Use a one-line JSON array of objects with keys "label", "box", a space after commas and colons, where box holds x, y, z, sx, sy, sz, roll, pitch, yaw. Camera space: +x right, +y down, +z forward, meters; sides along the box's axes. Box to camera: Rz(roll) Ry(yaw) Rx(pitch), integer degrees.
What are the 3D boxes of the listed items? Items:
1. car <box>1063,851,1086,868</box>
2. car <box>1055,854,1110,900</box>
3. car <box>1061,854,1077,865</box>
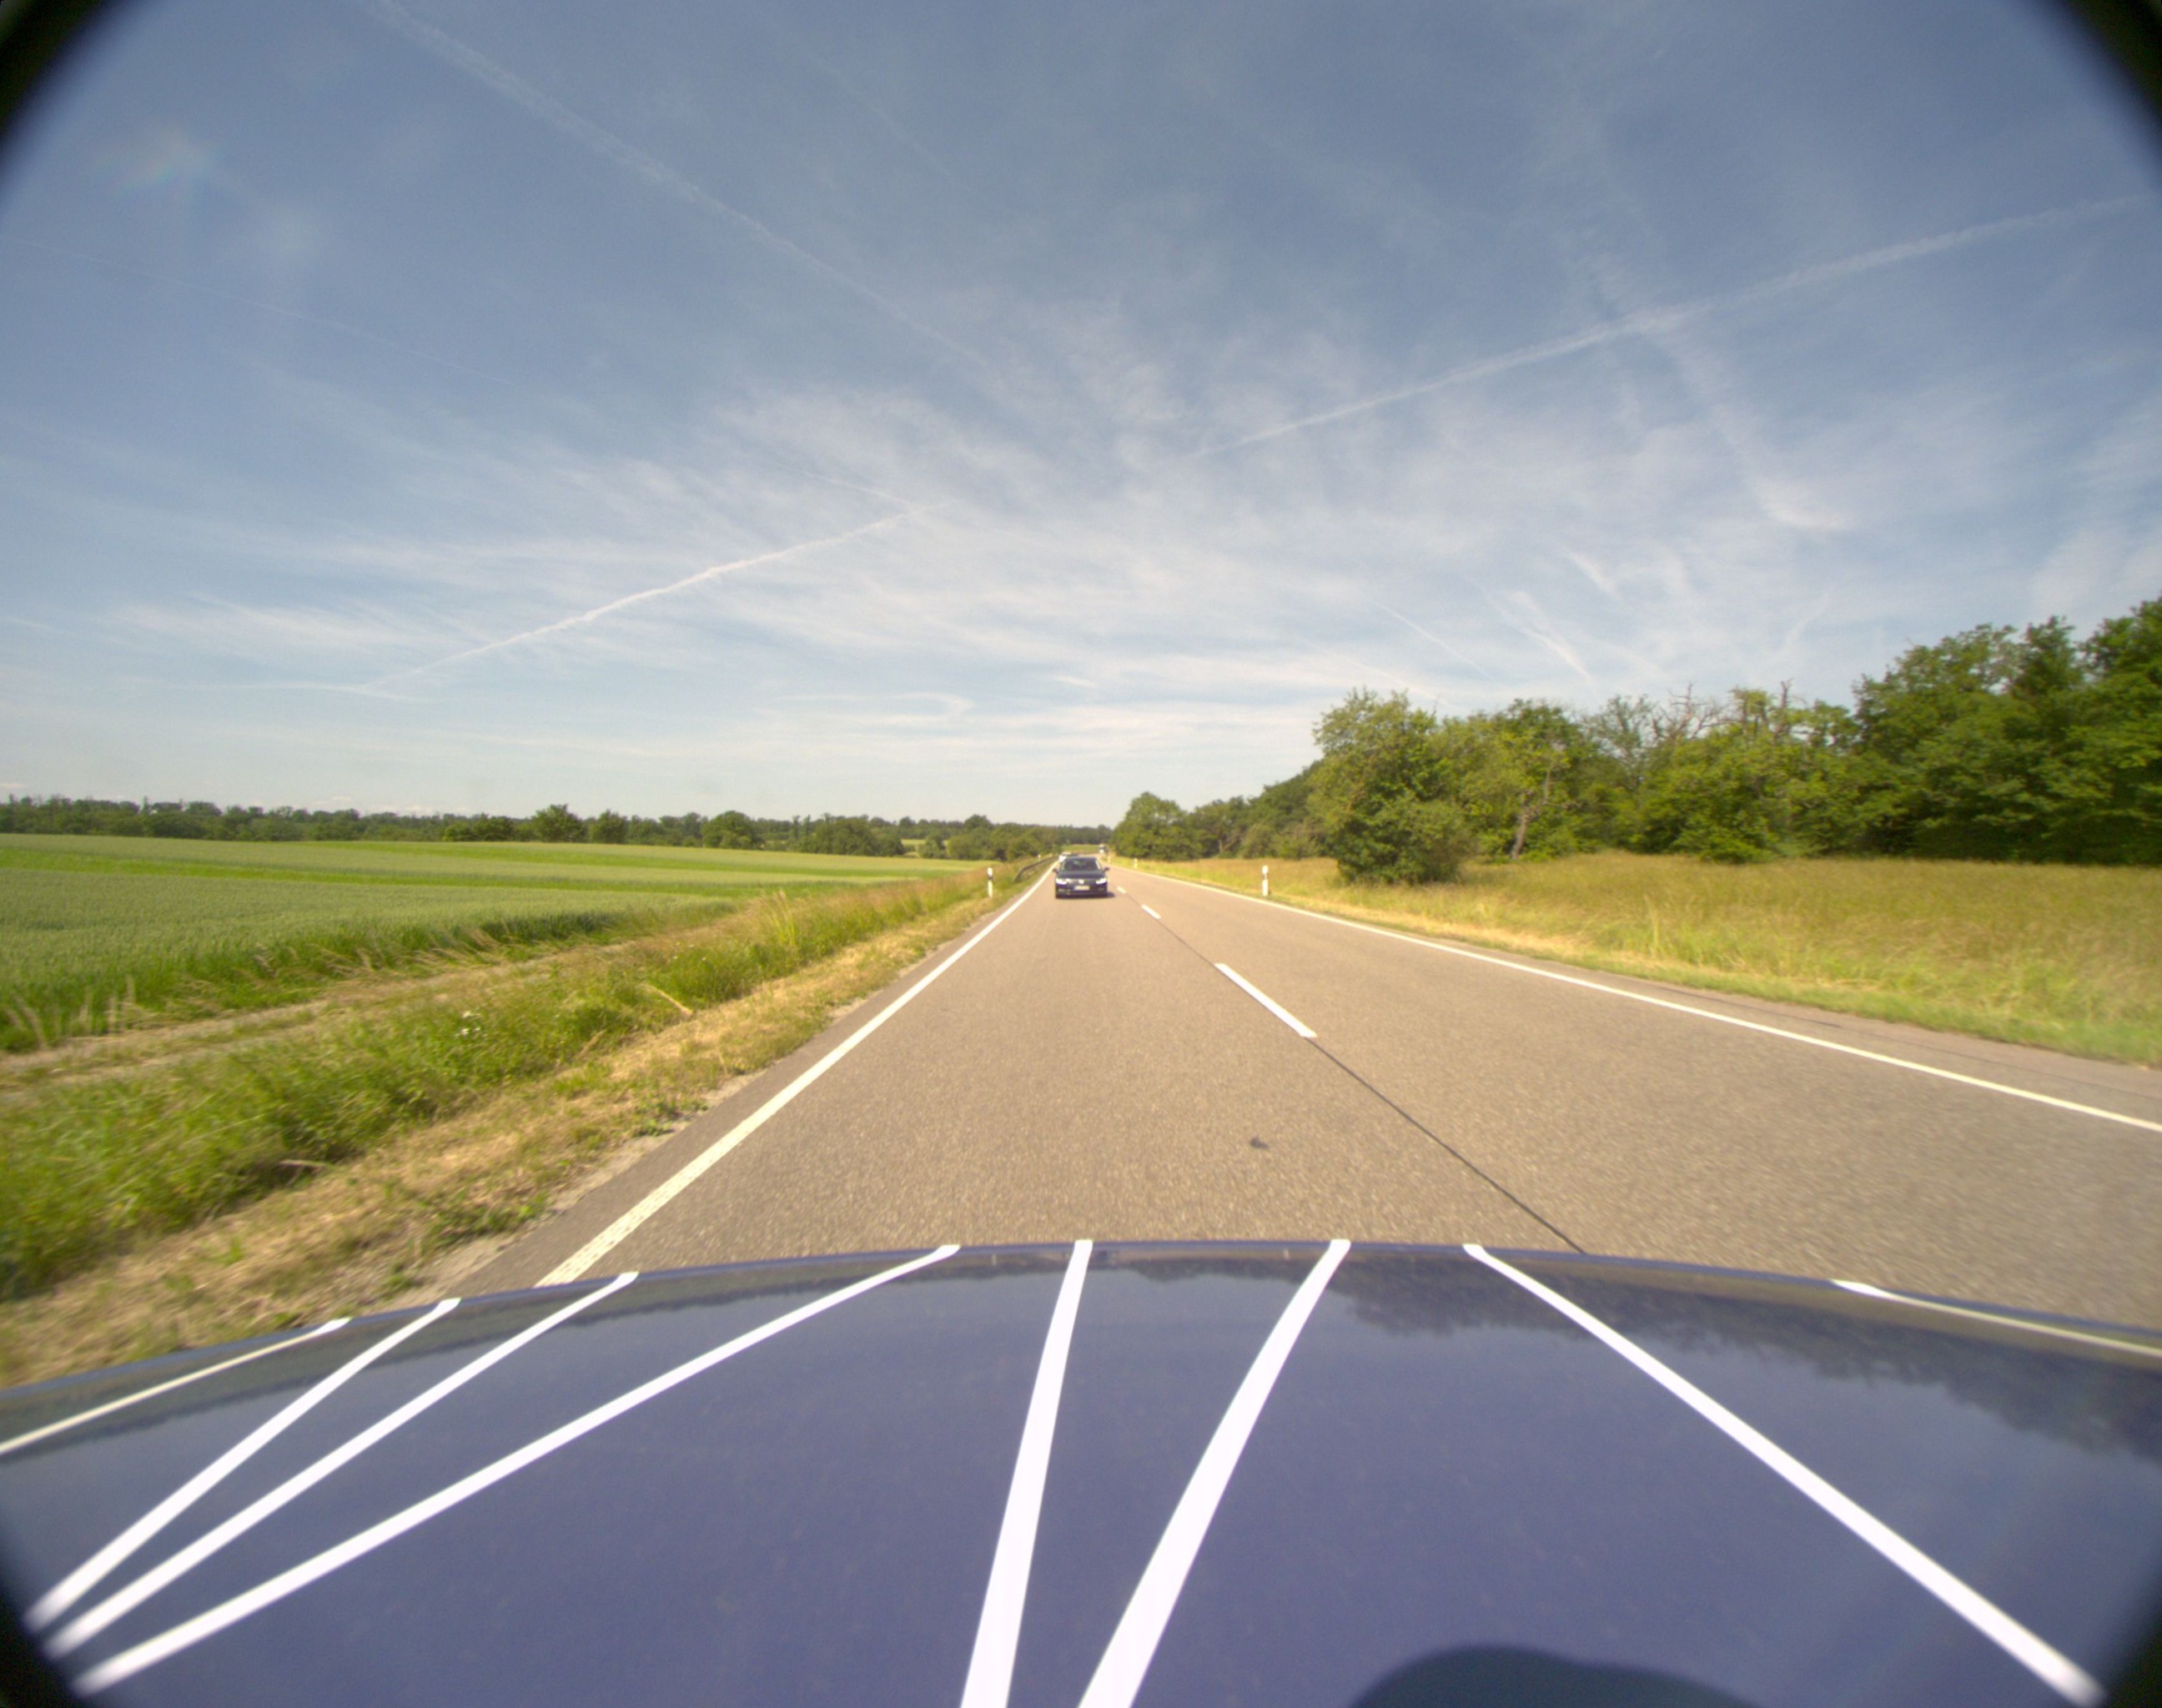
[{"label": "car", "box": [-0.658, 0.518, 71.756, 1.928, 1.501, 4.290, 0, 0, -3]}, {"label": "car", "box": [-0.034, 0.778, 27.965, 1.822, 1.501, 4.499, -1, 0, -2]}, {"label": "car", "box": [-1.673, 0.719, 103.253, 1.929, 1.501, 4.290, 1, 0, -4]}]
